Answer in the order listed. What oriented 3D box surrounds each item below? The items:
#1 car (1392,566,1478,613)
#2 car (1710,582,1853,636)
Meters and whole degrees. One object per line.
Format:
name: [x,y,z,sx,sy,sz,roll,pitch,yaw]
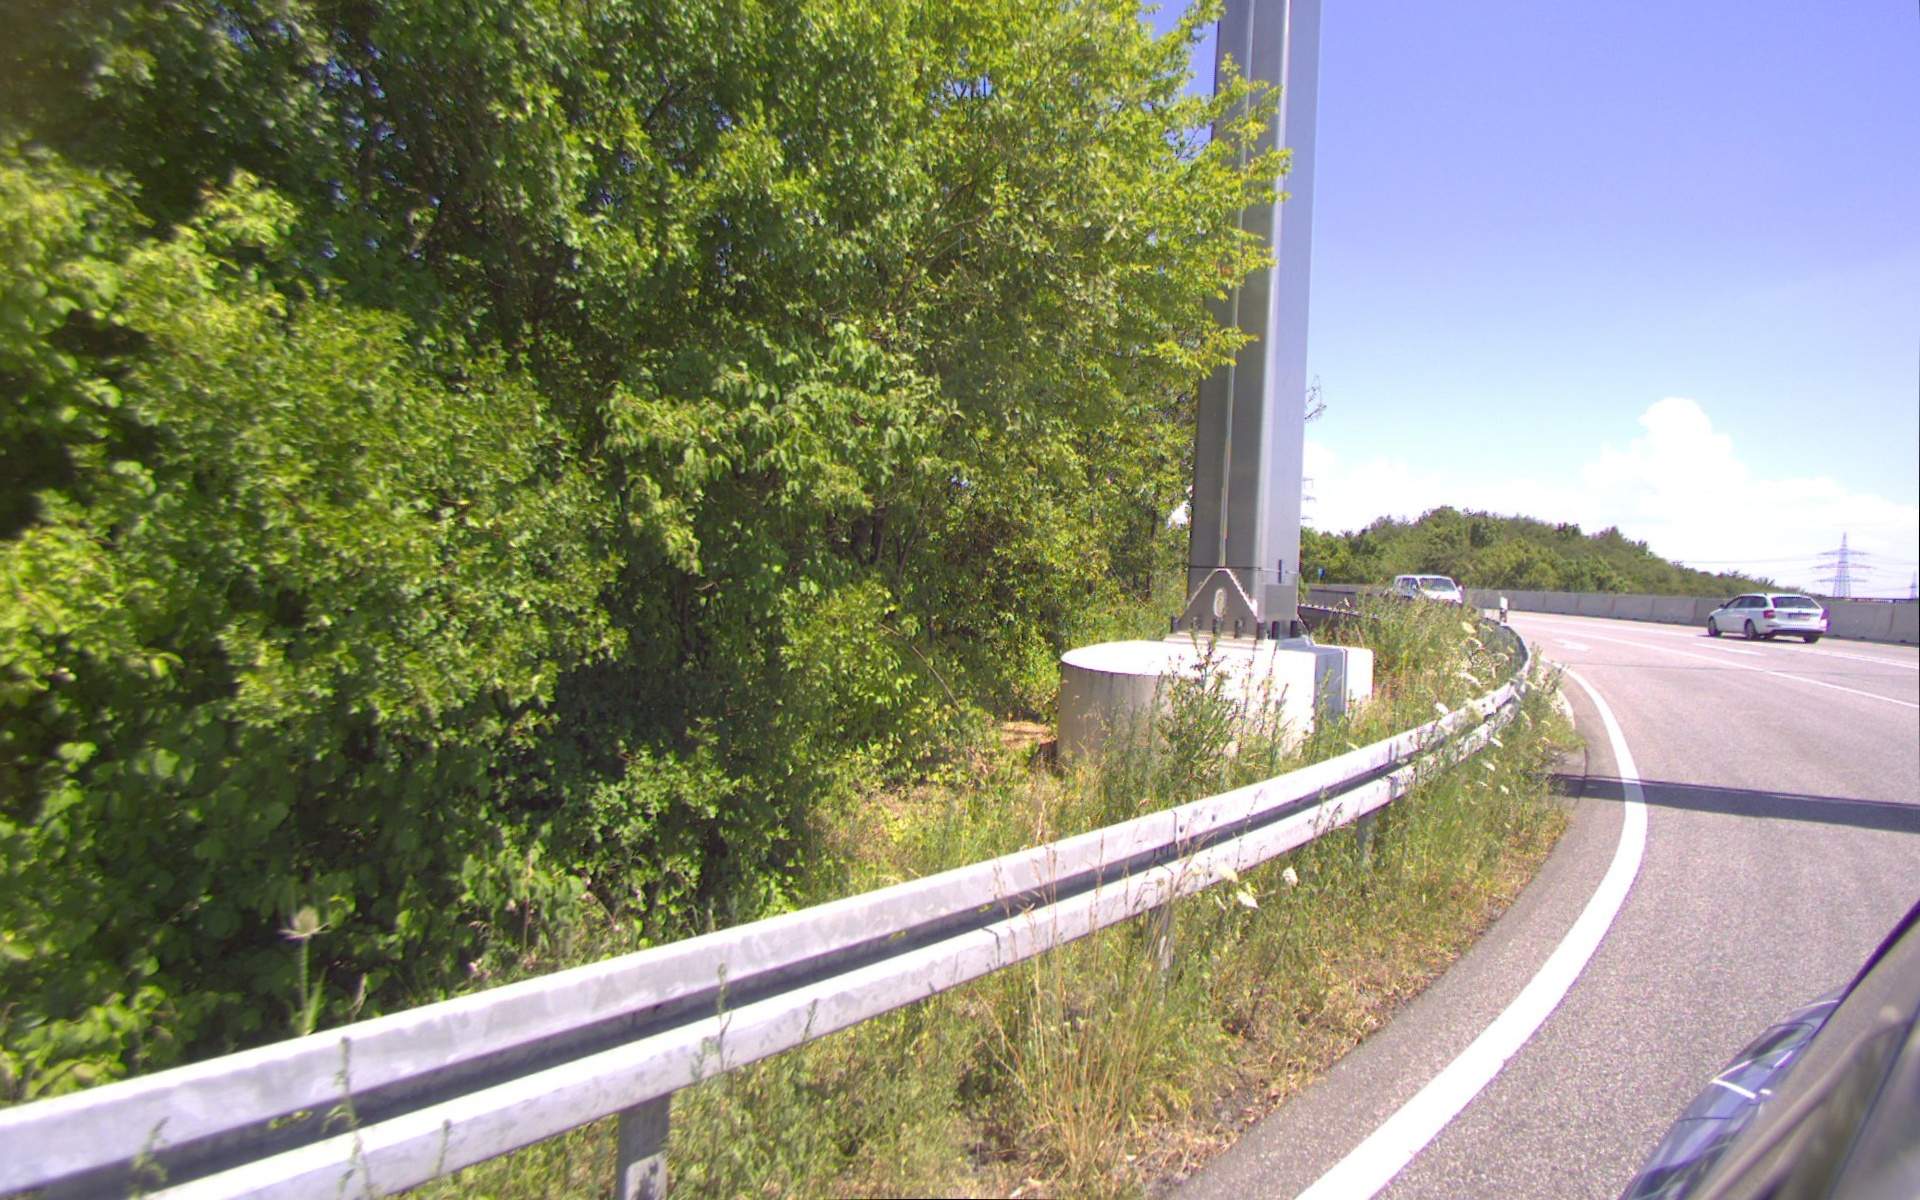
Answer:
car: [22.841,-0.538,48.923,1.997,2.110,5.861,1,1,7]
car: [25.622,0.233,31.782,1.768,1.514,4.529,2,1,16]
